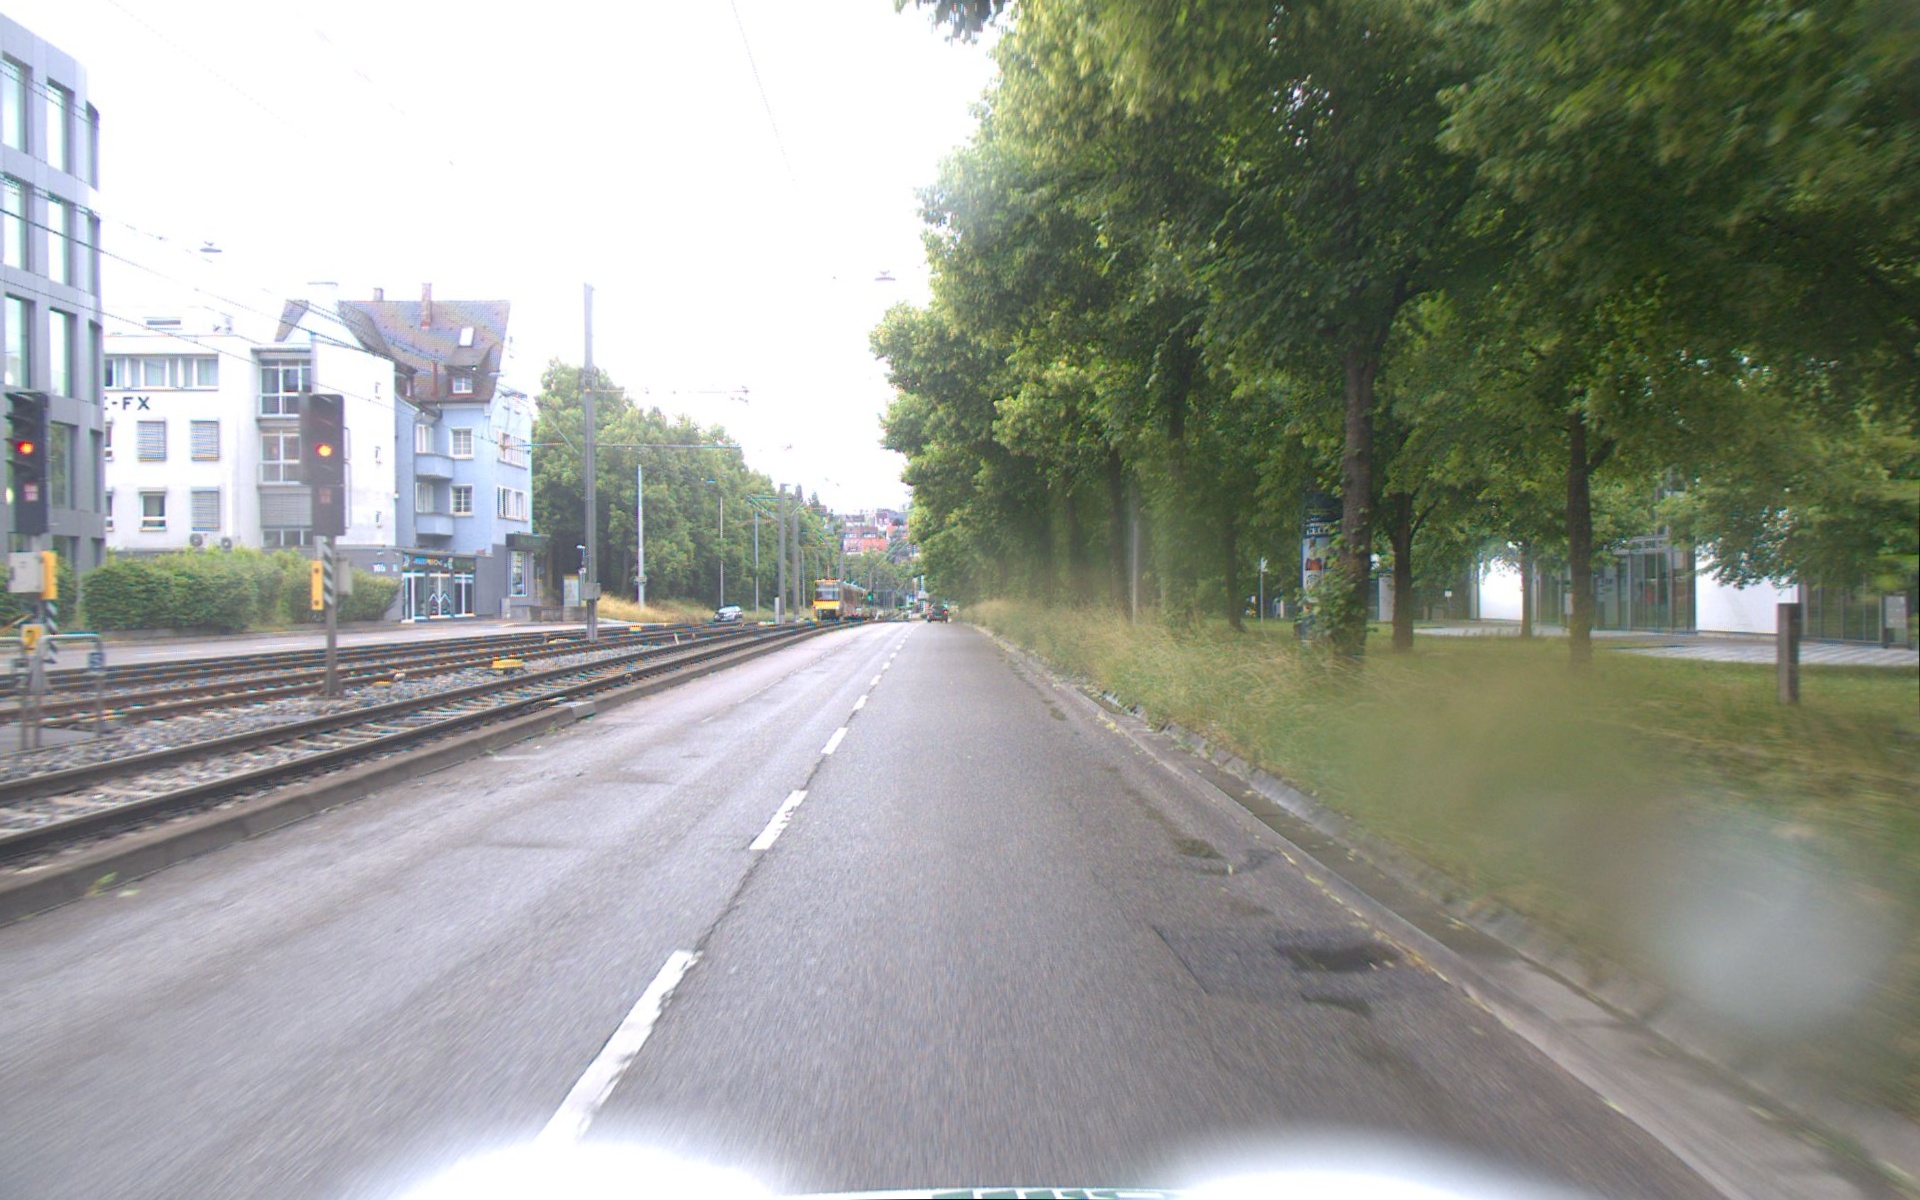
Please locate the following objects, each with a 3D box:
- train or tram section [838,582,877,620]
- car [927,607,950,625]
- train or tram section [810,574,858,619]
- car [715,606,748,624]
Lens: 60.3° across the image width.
[{"bbox_3d":[-11.177,0.204,181.526,3.148,3.863,14.788,0,-1,1],"label":"train or tram section"},{"bbox_3d":[-1.826,1.347,141.278,1.942,1.466,4.473,0,0,-1],"label":"car"},{"bbox_3d":[-11.452,-0.244,151.821,3.148,3.863,14.788,0,-1,1],"label":"train or tram section"},{"bbox_3d":[-17.837,1.198,129.333,1.863,1.348,4.826,0,-1,0],"label":"car"}]
